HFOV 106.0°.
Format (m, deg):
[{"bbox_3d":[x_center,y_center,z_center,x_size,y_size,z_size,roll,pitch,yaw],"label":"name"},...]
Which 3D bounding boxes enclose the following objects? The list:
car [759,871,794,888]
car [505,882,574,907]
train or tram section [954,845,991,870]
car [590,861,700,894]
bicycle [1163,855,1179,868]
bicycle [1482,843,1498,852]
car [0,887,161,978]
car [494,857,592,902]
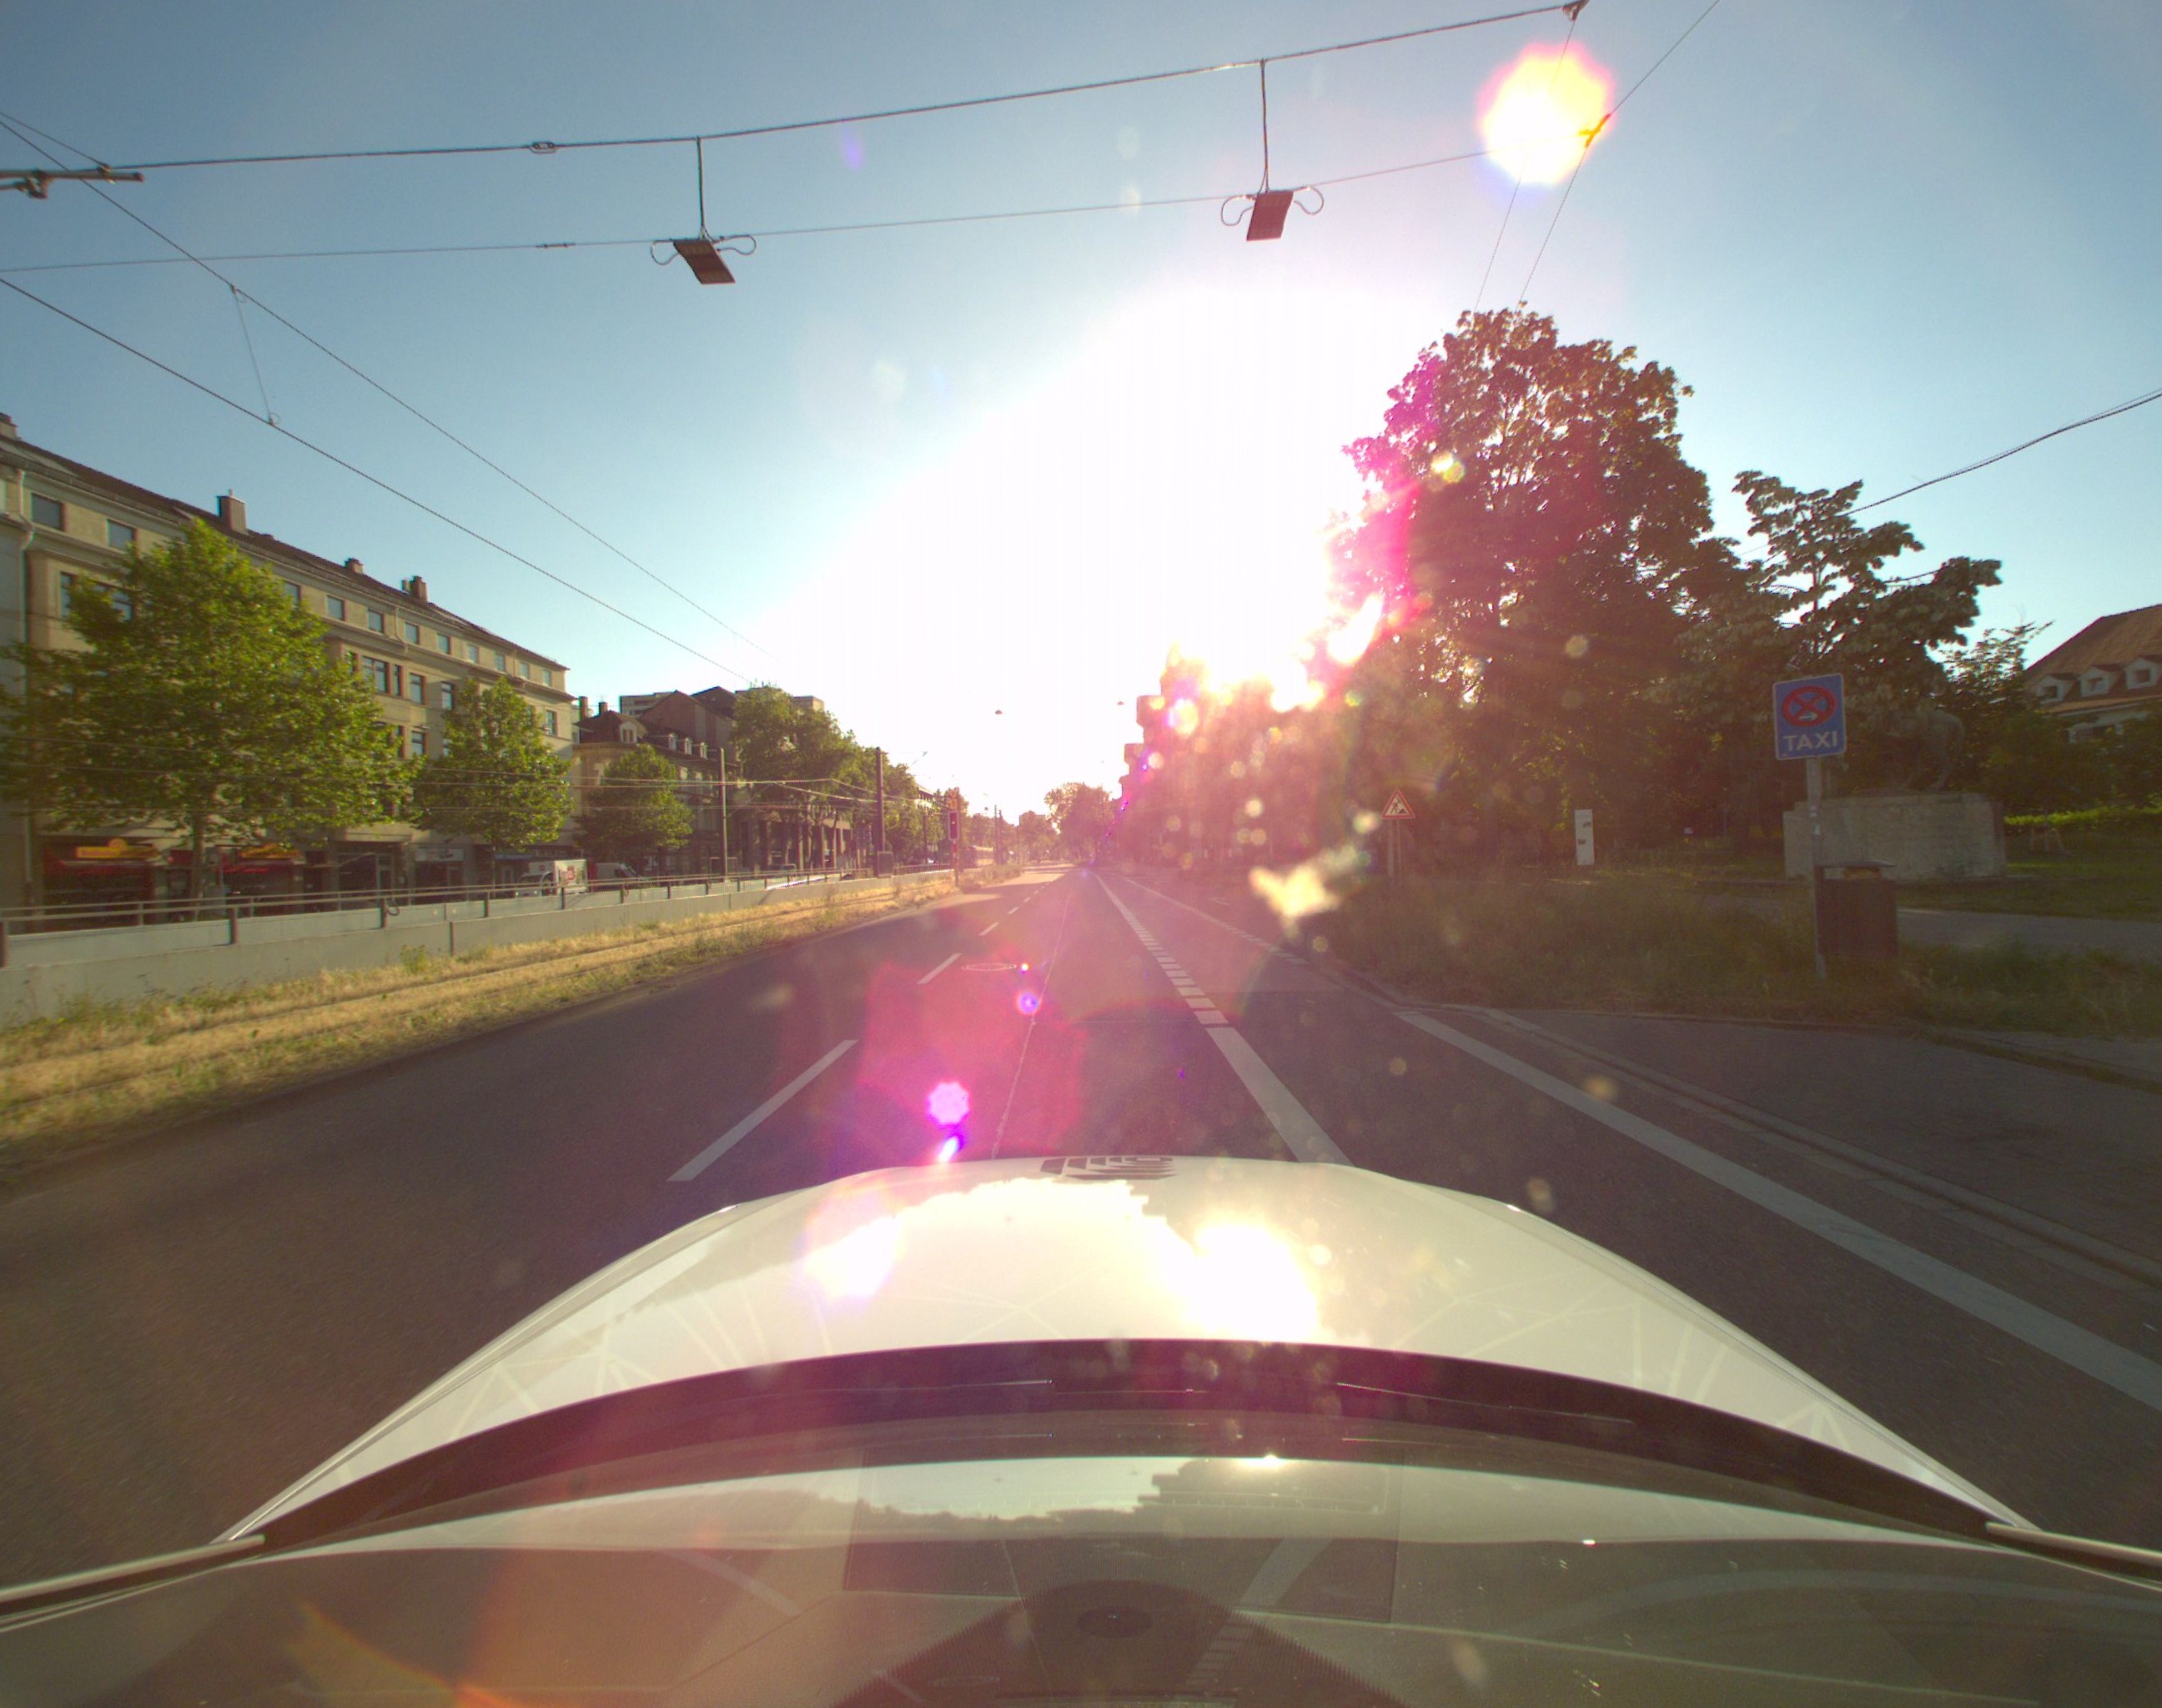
[{"bbox_3d":[-31.943,2.628,85.525,1.754,1.585,4.735,-2,0,1],"label":"car"},{"bbox_3d":[-31.705,2.320,47.785,1.449,1.332,3.711,0,-1,2],"label":"car"},{"bbox_3d":[-17.534,0.562,132.693,3.101,3.559,17.482,-2,0,1],"label":"train or tram section"},{"bbox_3d":[-34.781,1.881,65.210,7.256,2.266,2.466,-2,0,-5],"label":"car"},{"bbox_3d":[8.801,0.709,79.759,0.859,1.196,2.252,-3,0,23],"label":"bicycle"},{"bbox_3d":[49.373,-0.780,98.406,1.990,1.101,0.846,-2,1,-34],"label":"bicycle"},{"bbox_3d":[-24.042,1.776,17.821,1.985,1.819,4.982,-2,0,3],"label":"car"},{"bbox_3d":[-28.038,1.288,42.639,1.946,2.134,4.573,-2,0,0],"label":"car"}]
